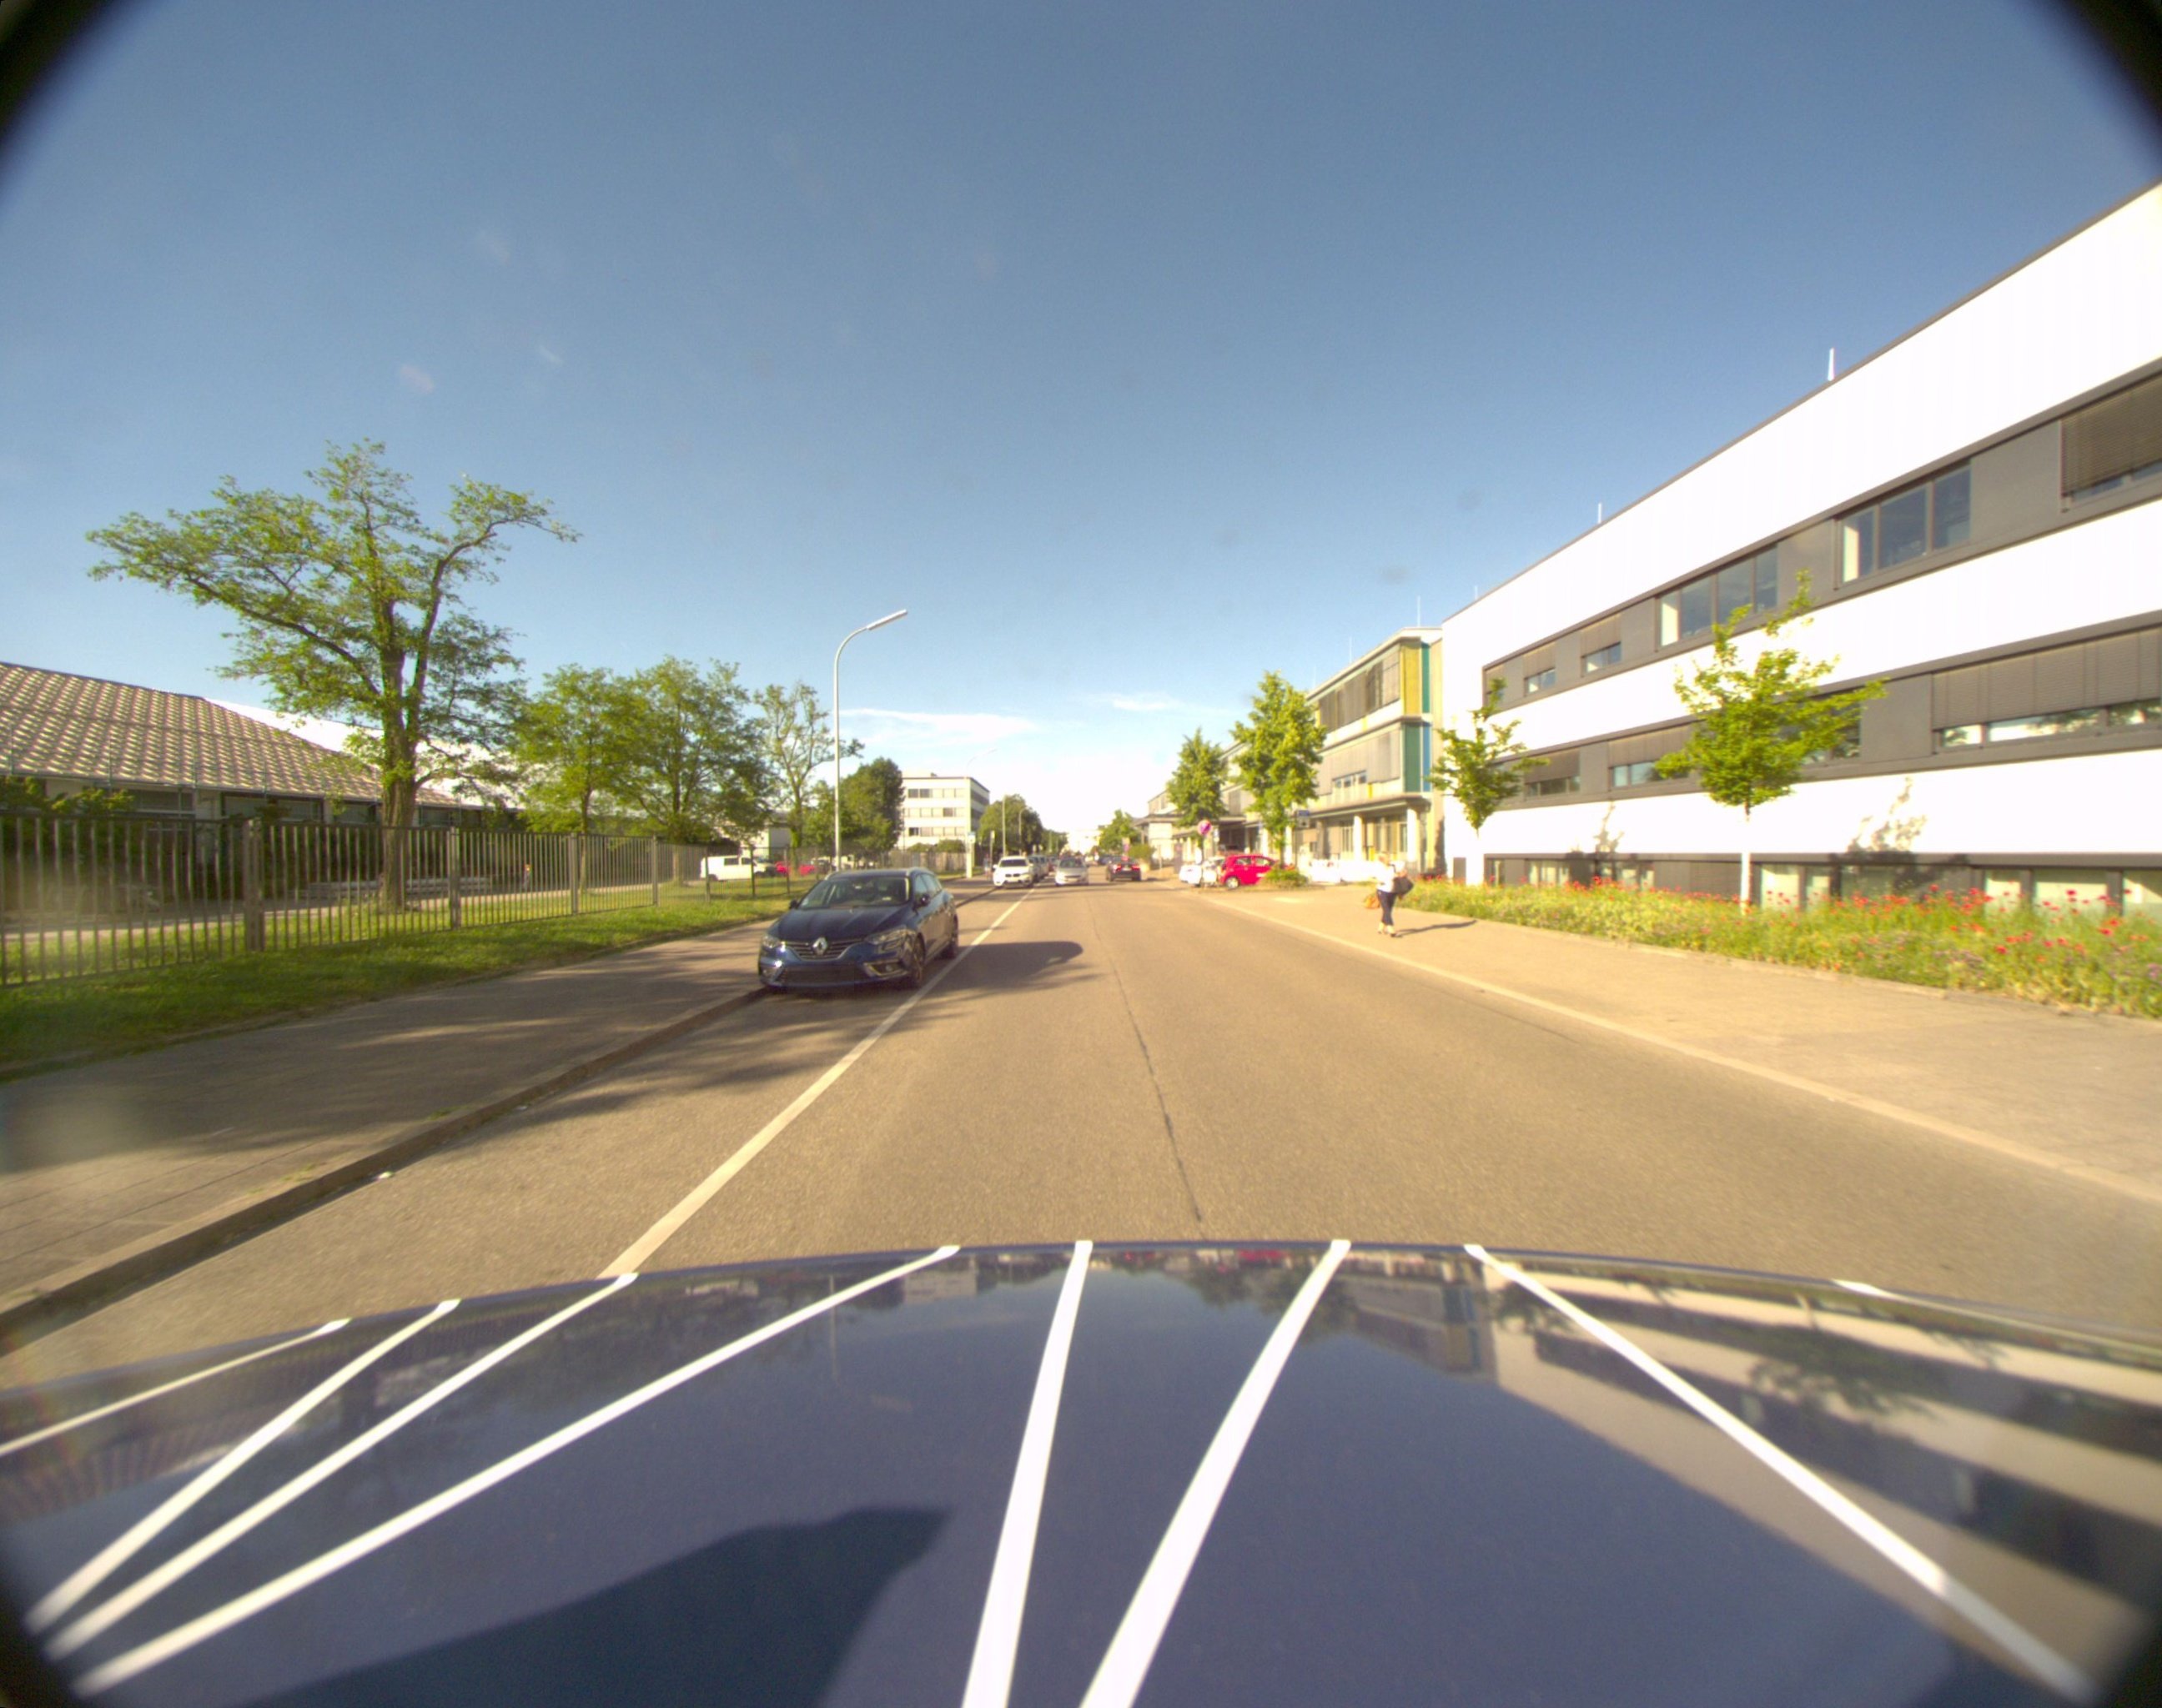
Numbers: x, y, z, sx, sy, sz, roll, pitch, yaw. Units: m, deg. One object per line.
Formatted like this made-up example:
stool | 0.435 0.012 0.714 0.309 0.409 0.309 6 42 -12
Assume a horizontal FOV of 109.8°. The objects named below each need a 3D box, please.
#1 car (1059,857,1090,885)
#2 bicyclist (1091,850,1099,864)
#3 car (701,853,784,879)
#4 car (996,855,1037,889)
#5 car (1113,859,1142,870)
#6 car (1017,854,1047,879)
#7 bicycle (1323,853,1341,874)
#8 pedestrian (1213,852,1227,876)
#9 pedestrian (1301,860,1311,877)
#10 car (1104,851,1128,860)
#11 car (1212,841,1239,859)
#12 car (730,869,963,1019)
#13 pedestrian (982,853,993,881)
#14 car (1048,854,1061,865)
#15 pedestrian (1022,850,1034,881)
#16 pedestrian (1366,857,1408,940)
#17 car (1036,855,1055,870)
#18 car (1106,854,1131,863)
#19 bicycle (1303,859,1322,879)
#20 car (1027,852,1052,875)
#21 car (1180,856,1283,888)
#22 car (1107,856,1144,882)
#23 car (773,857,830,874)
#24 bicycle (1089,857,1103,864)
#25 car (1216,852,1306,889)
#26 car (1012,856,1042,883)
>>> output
car | -0.351 0.861 39.766 1.551 1.389 3.454 -1 0 -1
bicyclist | 2.090 0.369 110.381 1.052 2.002 0.959 -1 1 -5
car | -24.423 0.853 55.007 4.979 1.635 2.095 -3 1 -3
car | -3.223 0.869 38.452 1.818 1.579 4.261 -2 0 -2
car | 6.924 1.570 114.190 4.142 1.458 1.753 -1 0 -2
car | -3.284 0.816 51.943 1.705 1.597 4.352 -2 0 0
bicycle | 13.597 0.502 41.187 0.421 1.117 1.763 0 0 0
pedestrian | 9.366 0.650 51.237 0.775 1.540 0.780 -3 1 0
pedestrian | 16.059 1.044 54.203 0.533 1.166 0.556 -1 1 0
car | 6.279 0.334 137.045 4.102 1.414 1.823 -2 1 -2
car | 15.125 -0.389 79.719 1.924 1.880 4.710 0 0 -1
car | -2.835 1.001 10.248 1.822 1.444 4.213 -2 0 -1
pedestrian | -5.623 0.766 45.675 0.540 1.602 0.683 -3 1 0
car | -3.858 0.785 110.896 1.668 1.505 4.113 -2 0 0
pedestrian | -2.915 0.634 41.814 0.521 1.699 0.523 -2 1 3
pedestrian | 5.689 0.812 14.153 0.539 1.515 0.607 -1 1 1
car | -3.567 0.845 77.595 1.814 1.501 4.721 -2 0 -2
car | 6.355 0.763 129.864 3.992 1.480 1.823 -2 1 -2
bicycle | 12.767 0.811 41.993 0.536 1.105 1.861 0 0 2
car | -3.319 0.765 61.220 1.814 1.712 4.703 -2 0 -2
car | 7.037 0.843 35.775 4.522 1.359 1.700 -1 0 2
car | 2.645 0.869 45.873 1.766 1.433 4.536 0 0 -2
car | -23.832 0.990 64.924 4.154 1.245 1.828 -3 1 -3
bicycle | 2.167 0.911 110.389 1.884 1.002 0.701 -1 0 -5
car | 7.896 0.721 33.512 3.642 1.460 1.615 -2 0 6
car | -3.244 0.902 46.187 1.705 1.479 3.979 -2 0 -3
